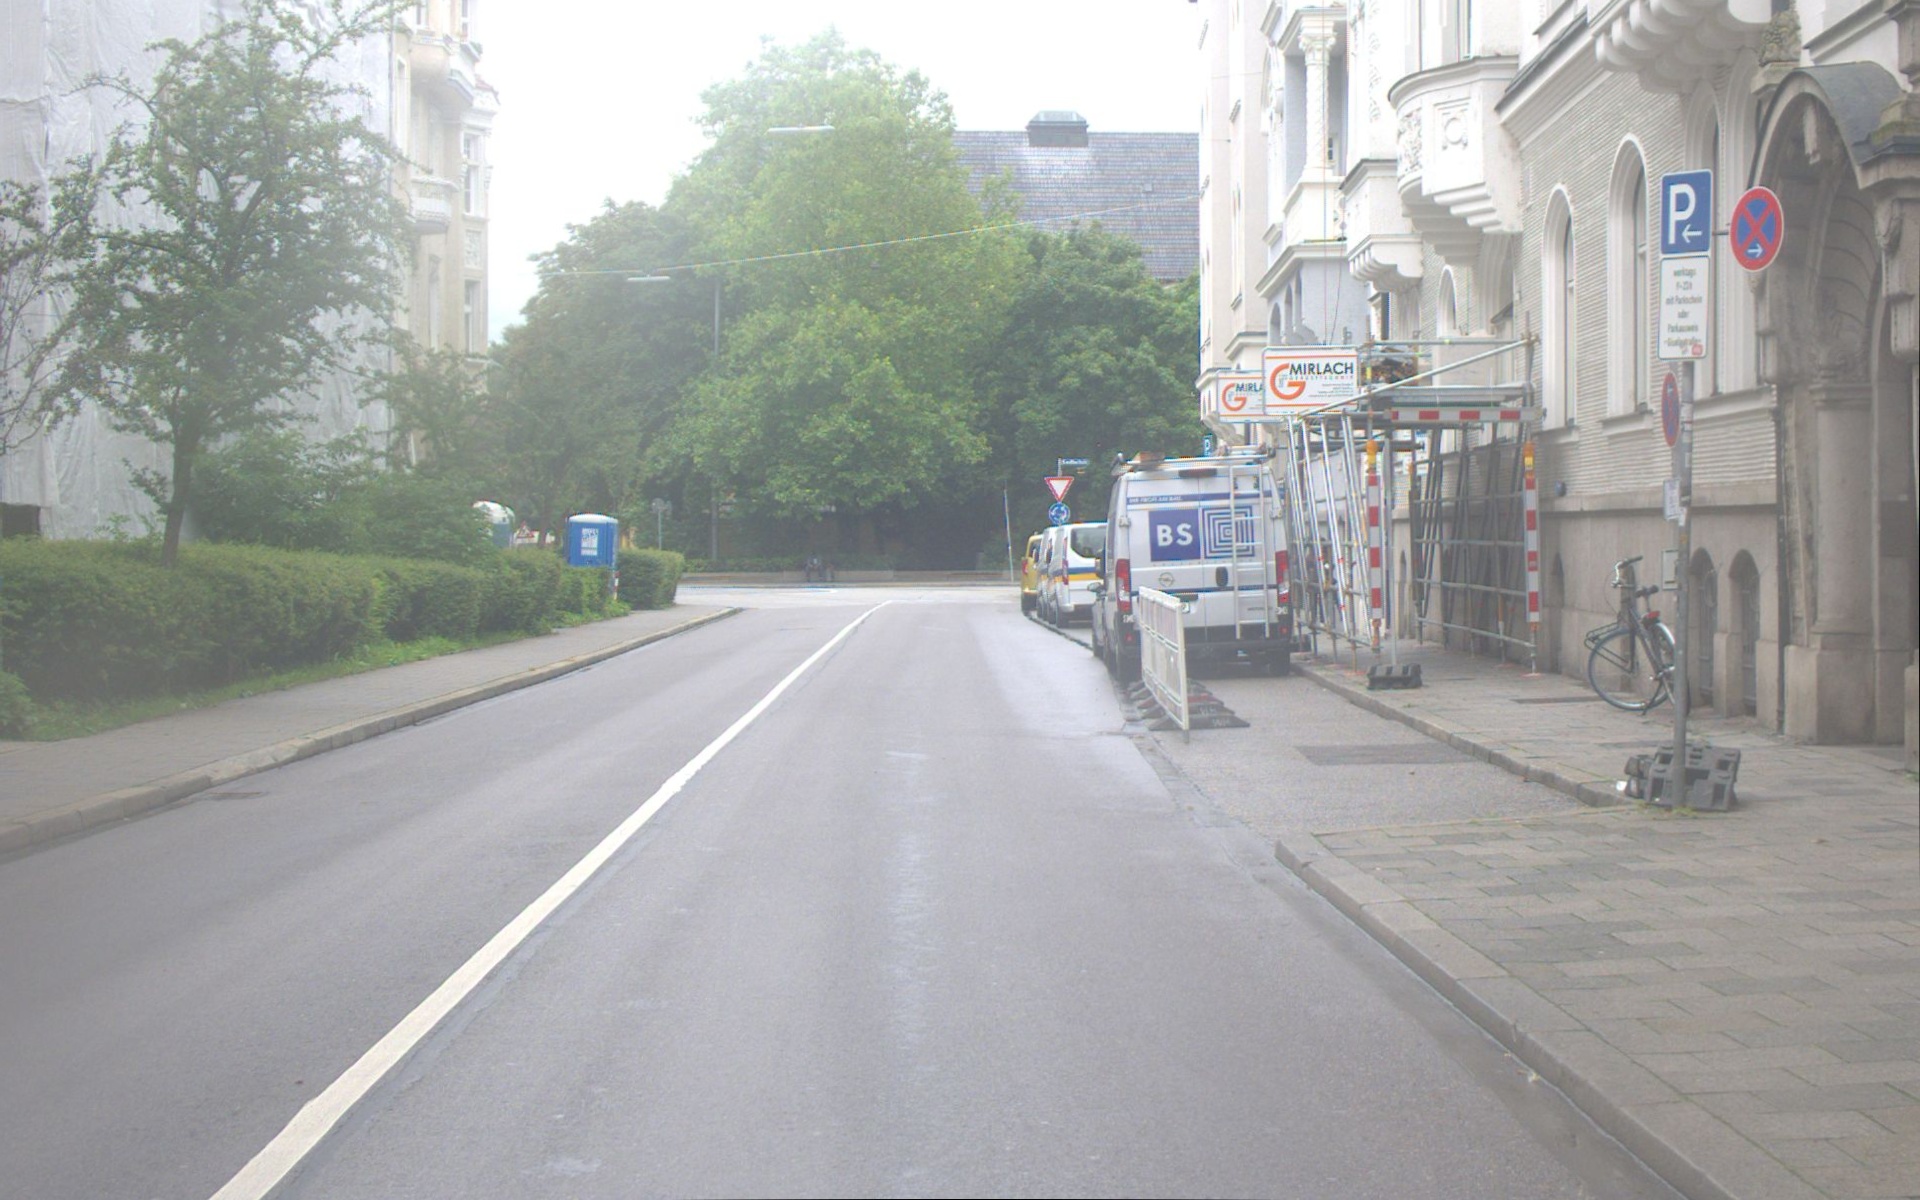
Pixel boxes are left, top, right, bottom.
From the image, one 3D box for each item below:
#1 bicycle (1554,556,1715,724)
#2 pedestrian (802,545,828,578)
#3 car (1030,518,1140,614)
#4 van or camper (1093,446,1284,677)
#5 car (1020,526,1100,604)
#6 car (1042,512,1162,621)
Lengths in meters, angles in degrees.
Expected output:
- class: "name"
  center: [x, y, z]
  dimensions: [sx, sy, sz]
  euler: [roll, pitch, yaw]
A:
- class: "bicycle"
  center: [5.177, 0.284, 26.502]
  dimensions: [0.660, 1.202, 1.922]
  euler: [-4, 1, -4]
- class: "pedestrian"
  center: [-5.286, -1.409, 125.382]
  dimensions: [0.812, 1.185, 0.919]
  euler: [0, 1, 6]
- class: "car"
  center: [2.610, -0.737, 72.838]
  dimensions: [1.959, 1.930, 4.994]
  euler: [-1, 1, -2]
- class: "van or camper"
  center: [2.719, -0.483, 42.053]
  dimensions: [1.953, 2.628, 5.459]
  euler: [0, 1, 0]
- class: "car"
  center: [2.467, -0.883, 83.905]
  dimensions: [1.850, 1.846, 4.820]
  euler: [0, 1, 3]
- class: "car"
  center: [2.707, -0.664, 66.667]
  dimensions: [1.959, 2.007, 4.994]
  euler: [-1, 1, -2]
